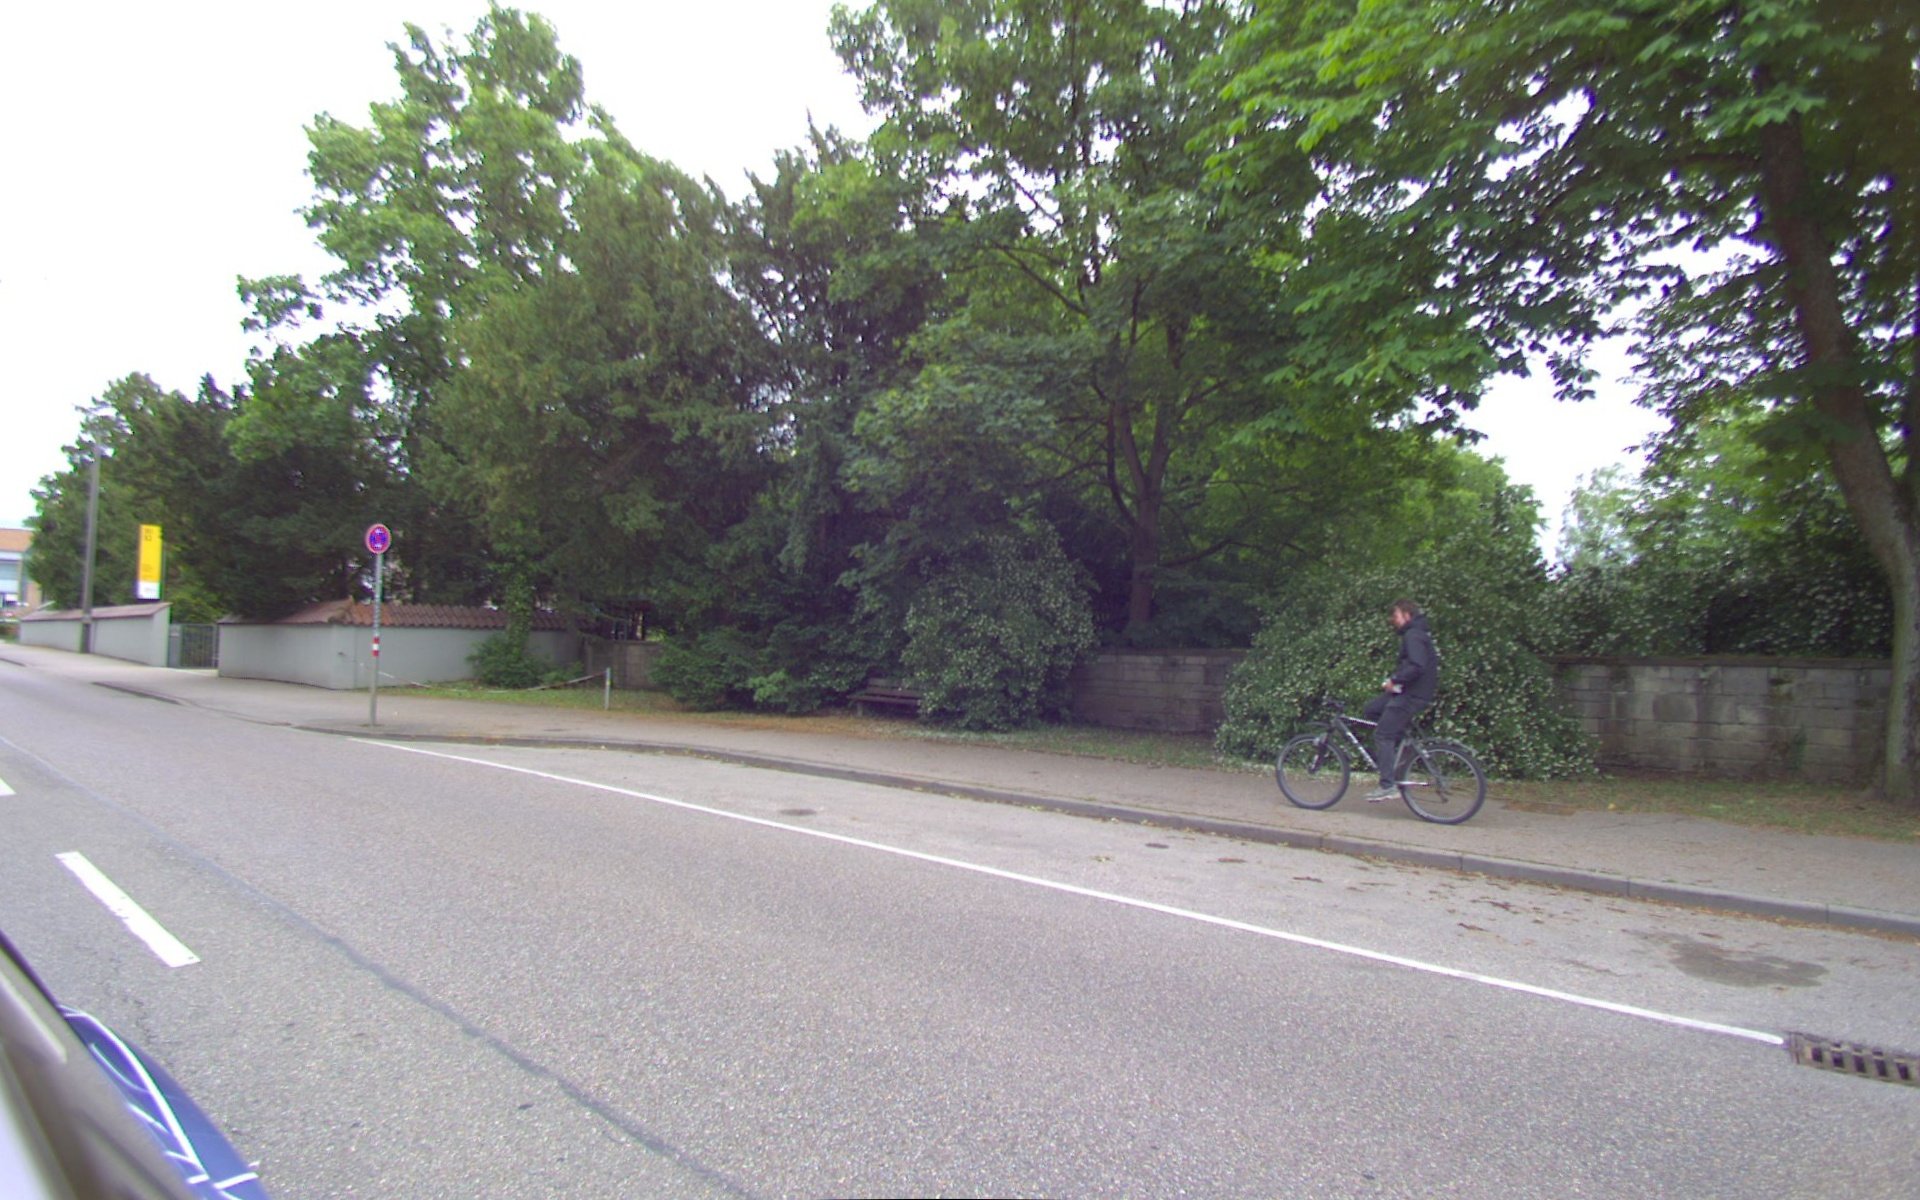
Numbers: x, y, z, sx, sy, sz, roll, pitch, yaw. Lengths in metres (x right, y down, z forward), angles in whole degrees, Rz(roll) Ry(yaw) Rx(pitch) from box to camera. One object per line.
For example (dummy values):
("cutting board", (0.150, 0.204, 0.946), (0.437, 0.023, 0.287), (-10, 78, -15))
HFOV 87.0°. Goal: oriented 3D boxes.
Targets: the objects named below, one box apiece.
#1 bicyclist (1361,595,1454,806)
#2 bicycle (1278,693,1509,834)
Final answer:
("bicyclist", (3.771, 0.807, 8.525), (0.588, 1.697, 0.482), (-1, 0, 41))
("bicycle", (3.654, 1.342, 8.636), (1.747, 0.972, 0.490), (-1, 0, 41))
